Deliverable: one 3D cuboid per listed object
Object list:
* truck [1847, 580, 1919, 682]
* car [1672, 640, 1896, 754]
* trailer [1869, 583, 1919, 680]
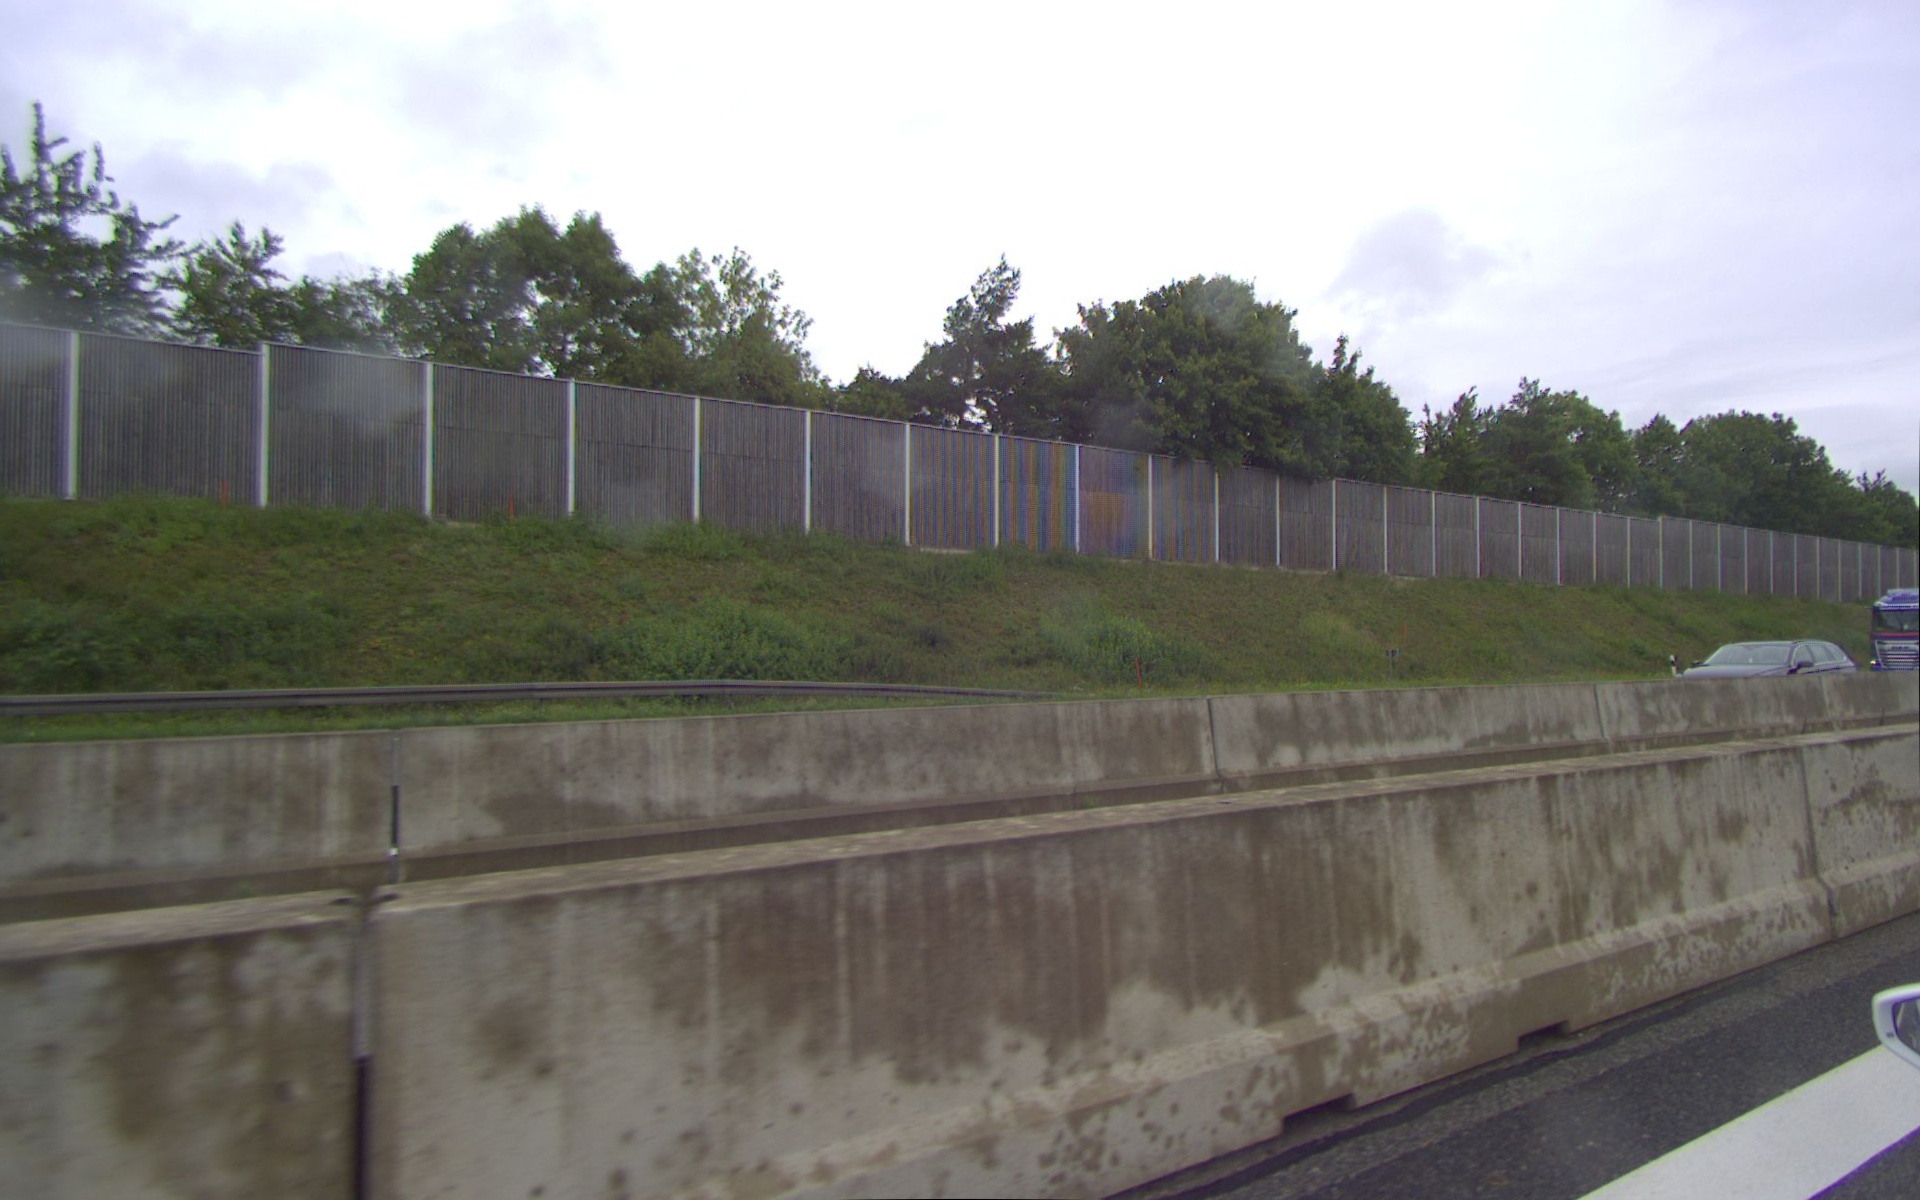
[{"bbox_3d":[43.599,1.441,45.734,6.027,4.381,3.075,2,-2,-30],"label":"truck"},{"bbox_3d":[16.776,1.855,20.409,4.712,2.040,1.984,1,-2,-30],"label":"car"},{"bbox_3d":[49.307,1.631,49.134,14.171,4.381,3.075,2,-2,-31],"label":"trailer"}]
